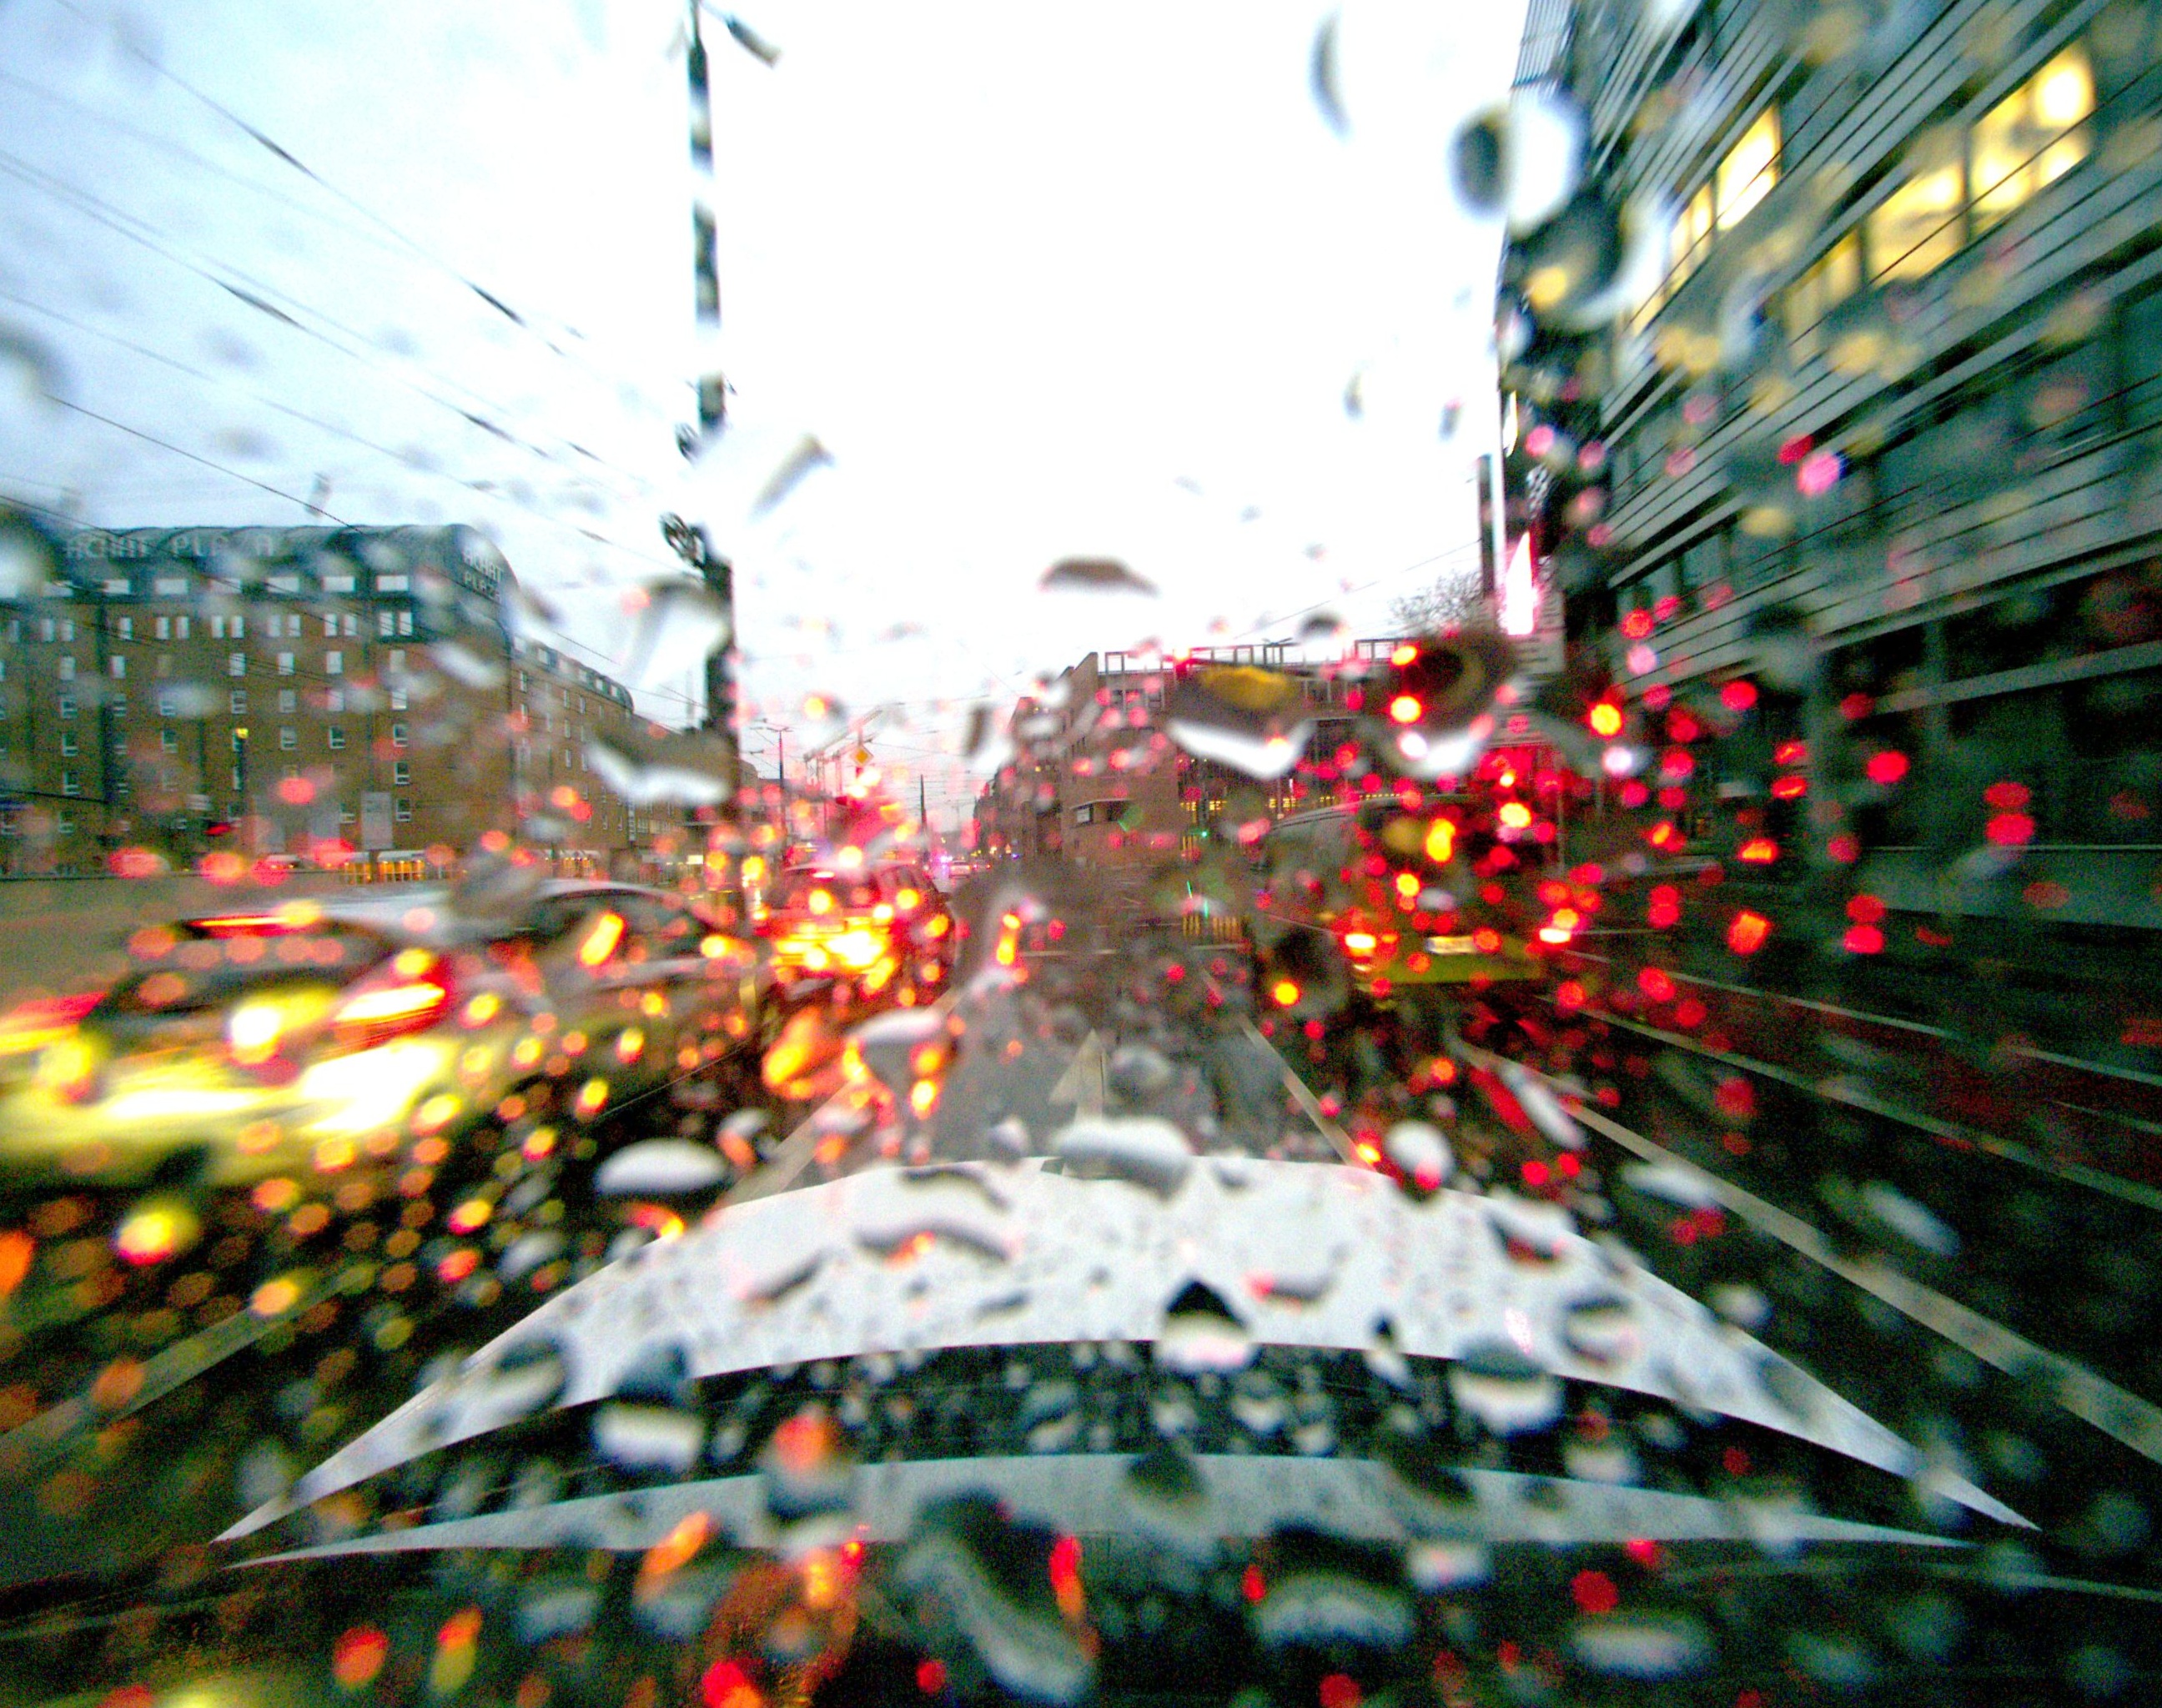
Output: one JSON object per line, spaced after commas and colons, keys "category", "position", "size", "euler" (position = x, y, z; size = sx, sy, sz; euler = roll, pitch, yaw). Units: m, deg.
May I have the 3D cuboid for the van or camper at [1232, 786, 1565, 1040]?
{"category": "van or camper", "position": [2.824, 0.438, 8.402], "size": [1.751, 1.906, 4.419], "euler": [-1, 0, 1]}

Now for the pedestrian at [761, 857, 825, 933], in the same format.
{"category": "pedestrian", "position": [-6.479, 0.918, 18.331], "size": [0.707, 1.601, 1.043], "euler": [-5, -1, 42]}

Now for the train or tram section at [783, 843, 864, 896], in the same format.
{"category": "train or tram section", "position": [-21.057, 1.176, 68.289], "size": [2.862, 3.614, 20.017], "euler": [-3, 0, -7]}

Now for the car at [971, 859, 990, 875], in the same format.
{"category": "car", "position": [-10.488, 1.340, 84.805], "size": [1.869, 1.579, 3.990], "euler": [0, 0, -7]}

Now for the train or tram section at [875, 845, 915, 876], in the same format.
{"category": "train or tram section", "position": [-24.700, 0.840, 109.468], "size": [3.190, 3.436, 27.743], "euler": [-2, 0, -9]}

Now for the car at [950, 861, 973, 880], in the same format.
{"category": "car", "position": [-10.289, 1.411, 70.079], "size": [1.870, 1.579, 3.988], "euler": [0, 0, -9]}

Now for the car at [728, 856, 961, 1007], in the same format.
{"category": "car", "position": [-2.684, 0.792, 10.176], "size": [1.692, 1.459, 3.758], "euler": [-2, 0, 1]}

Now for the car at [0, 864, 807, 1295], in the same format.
{"category": "car", "position": [-3.223, 0.800, 4.808], "size": [1.698, 1.448, 4.002], "euler": [0, -1, 2]}
